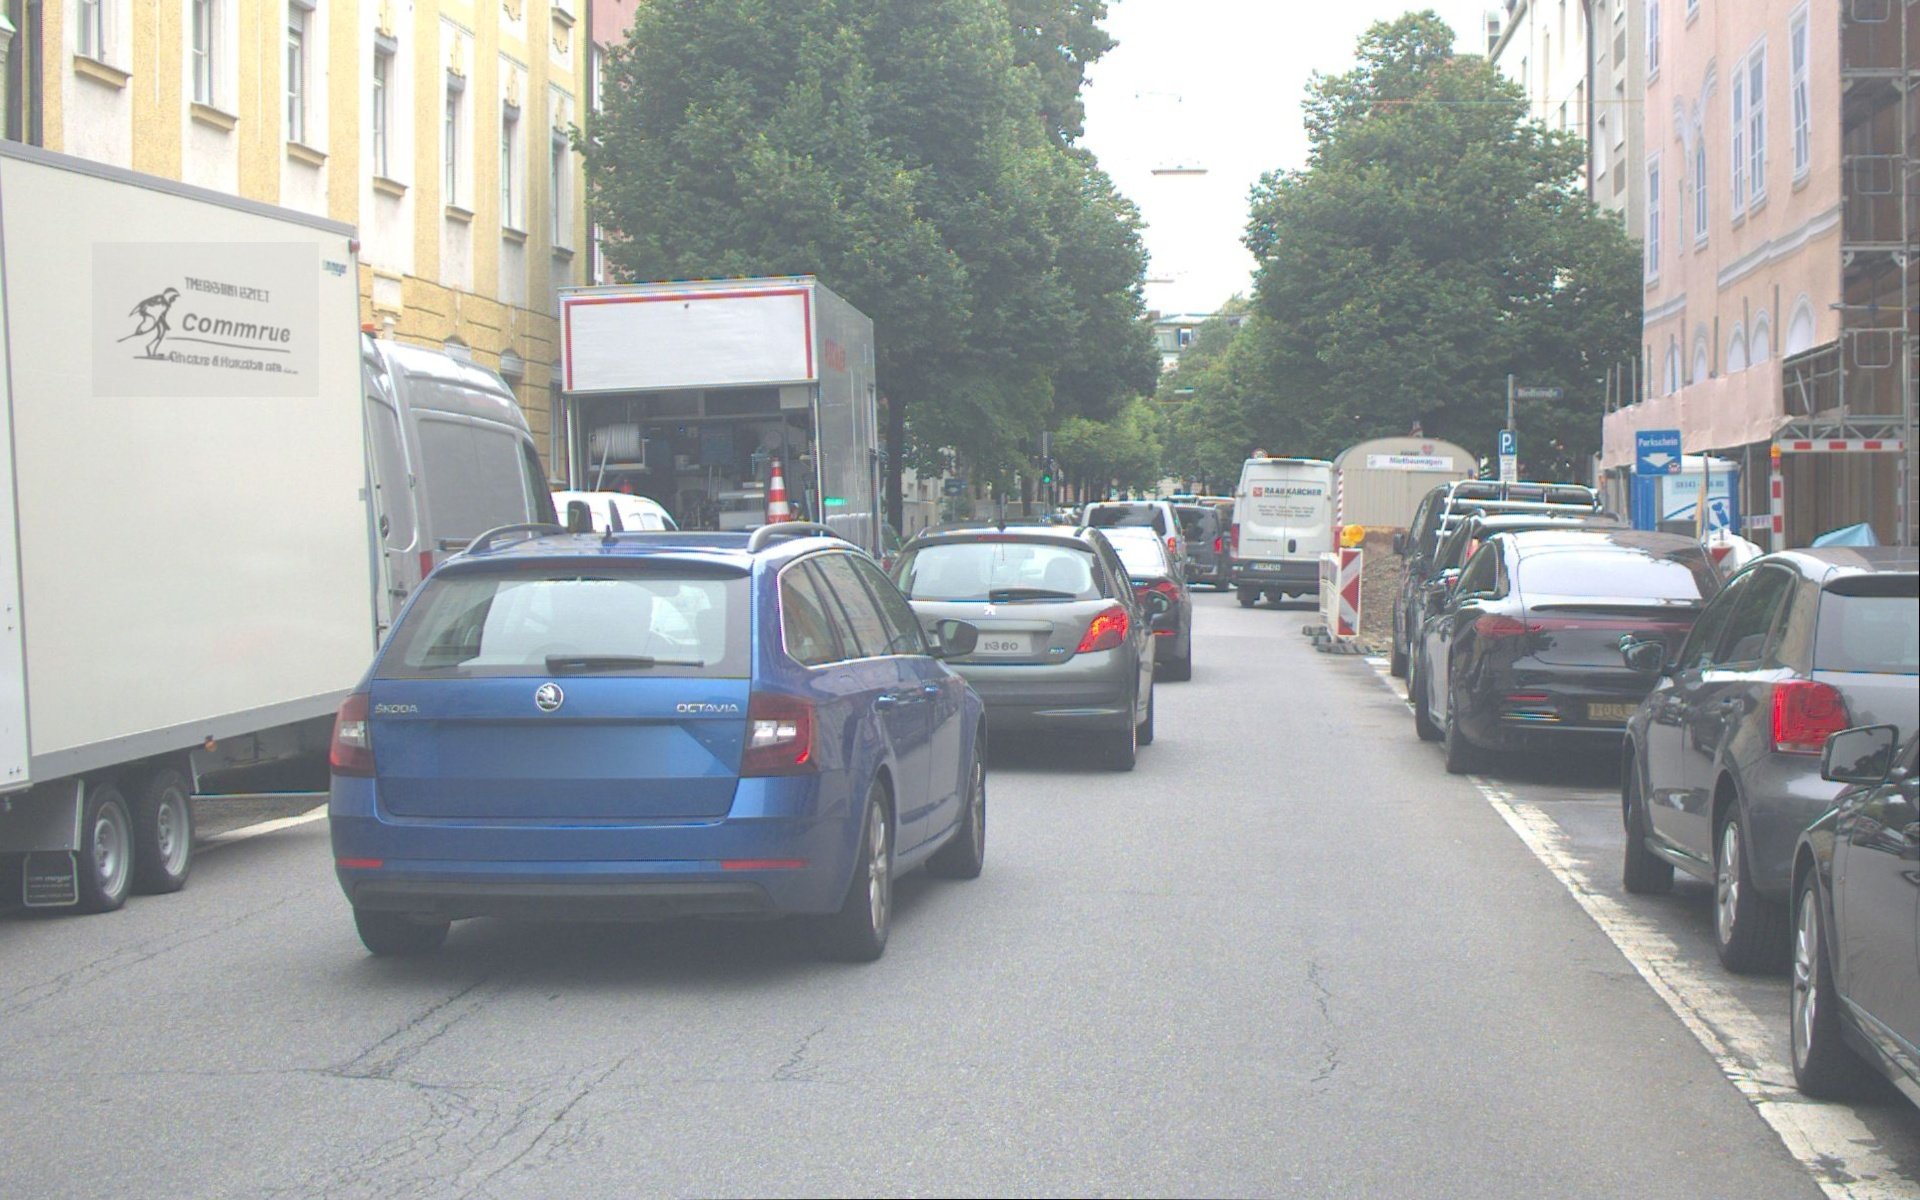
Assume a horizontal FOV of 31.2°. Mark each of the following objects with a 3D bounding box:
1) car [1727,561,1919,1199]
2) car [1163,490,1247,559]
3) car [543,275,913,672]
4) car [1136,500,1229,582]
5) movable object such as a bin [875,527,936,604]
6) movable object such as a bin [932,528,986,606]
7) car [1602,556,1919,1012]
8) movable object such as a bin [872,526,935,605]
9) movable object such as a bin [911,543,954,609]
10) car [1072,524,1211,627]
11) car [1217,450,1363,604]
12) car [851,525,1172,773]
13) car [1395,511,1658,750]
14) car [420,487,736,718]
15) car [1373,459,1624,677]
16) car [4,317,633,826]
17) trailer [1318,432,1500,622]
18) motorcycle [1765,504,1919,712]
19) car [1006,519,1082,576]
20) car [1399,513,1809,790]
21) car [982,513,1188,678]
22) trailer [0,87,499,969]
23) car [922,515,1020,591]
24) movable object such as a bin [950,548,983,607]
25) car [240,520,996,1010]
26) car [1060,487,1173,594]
[{"bbox_3d":[2.937,0.646,7.440,1.847,1.400,4.787,1,1,5],"label":"car"},{"bbox_3d":[6.158,-1.923,86.564,2.008,1.647,4.347,2,2,4],"label":"car"},{"bbox_3d":[-2.293,-1.292,37.426,2.813,3.804,8.722,0,1,4],"label":"car"},{"bbox_3d":[4.794,-1.295,73.640,1.868,1.647,4.347,2,2,5],"label":"car"},{"bbox_3d":[-1.001,-0.636,63.420,1.057,1.372,1.095,-2,1,1],"label":"movable object such as a bin"},{"bbox_3d":[-0.015,-0.597,62.320,0.918,1.372,1.080,-2,1,1],"label":"movable object such as a bin"},{"bbox_3d":[3.409,0.539,12.634,1.572,1.389,4.182,0,1,4],"label":"car"},{"bbox_3d":[-1.014,-0.634,62.317,1.081,1.372,1.084,-2,1,1],"label":"movable object such as a bin"},{"bbox_3d":[-0.496,-0.430,61.444,0.711,1.144,0.636,-2,1,1],"label":"movable object such as a bin"},{"bbox_3d":[2.681,-0.386,49.911,1.868,1.343,4.347,2,2,5],"label":"car"},{"bbox_3d":[6.102,-1.314,63.002,2.113,2.654,5.498,2,1,10],"label":"car"},{"bbox_3d":[0.402,0.248,21.518,1.741,1.417,3.663,0,1,5],"label":"car"},{"bbox_3d":[4.457,0.193,27.578,1.694,1.671,4.407,3,1,6],"label":"car"},{"bbox_3d":[-3.145,-0.021,29.146,1.763,1.773,4.326,-1,1,6],"label":"car"},{"bbox_3d":[5.191,-0.243,33.733,2.083,1.914,5.139,2,-1,6],"label":"car"},{"bbox_3d":[-3.750,-0.228,21.743,2.056,2.578,6.876,-4,1,4],"label":"car"},{"bbox_3d":[7.187,-1.170,55.795,2.502,2.830,6.900,2,1,4],"label":"trailer"},{"bbox_3d":[6.657,0.037,25.977,0.872,1.499,1.997,1,1,6],"label":"motorcycle"},{"bbox_3d":[2.290,-1.431,92.814,1.812,1.473,4.000,1,2,5],"label":"car"},{"bbox_3d":[4.023,0.222,22.395,1.931,1.547,5.636,1,1,4],"label":"car"},{"bbox_3d":[1.292,-0.100,33.959,1.867,1.449,4.347,2,2,4],"label":"car"},{"bbox_3d":[-4.314,-0.287,14.262,2.804,2.959,7.598,-3,2,7],"label":"trailer"},{"bbox_3d":[0.251,-0.978,70.137,1.812,1.473,4.000,1,2,3],"label":"car"},{"bbox_3d":[0.125,-0.407,61.455,0.546,1.017,0.636,-2,1,1],"label":"movable object such as a bin"},{"bbox_3d":[-1.014,0.446,12.444,1.789,1.455,4.313,0,1,7],"label":"car"},{"bbox_3d":[2.907,-1.124,63.192,1.868,1.863,4.347,2,2,5],"label":"car"}]
